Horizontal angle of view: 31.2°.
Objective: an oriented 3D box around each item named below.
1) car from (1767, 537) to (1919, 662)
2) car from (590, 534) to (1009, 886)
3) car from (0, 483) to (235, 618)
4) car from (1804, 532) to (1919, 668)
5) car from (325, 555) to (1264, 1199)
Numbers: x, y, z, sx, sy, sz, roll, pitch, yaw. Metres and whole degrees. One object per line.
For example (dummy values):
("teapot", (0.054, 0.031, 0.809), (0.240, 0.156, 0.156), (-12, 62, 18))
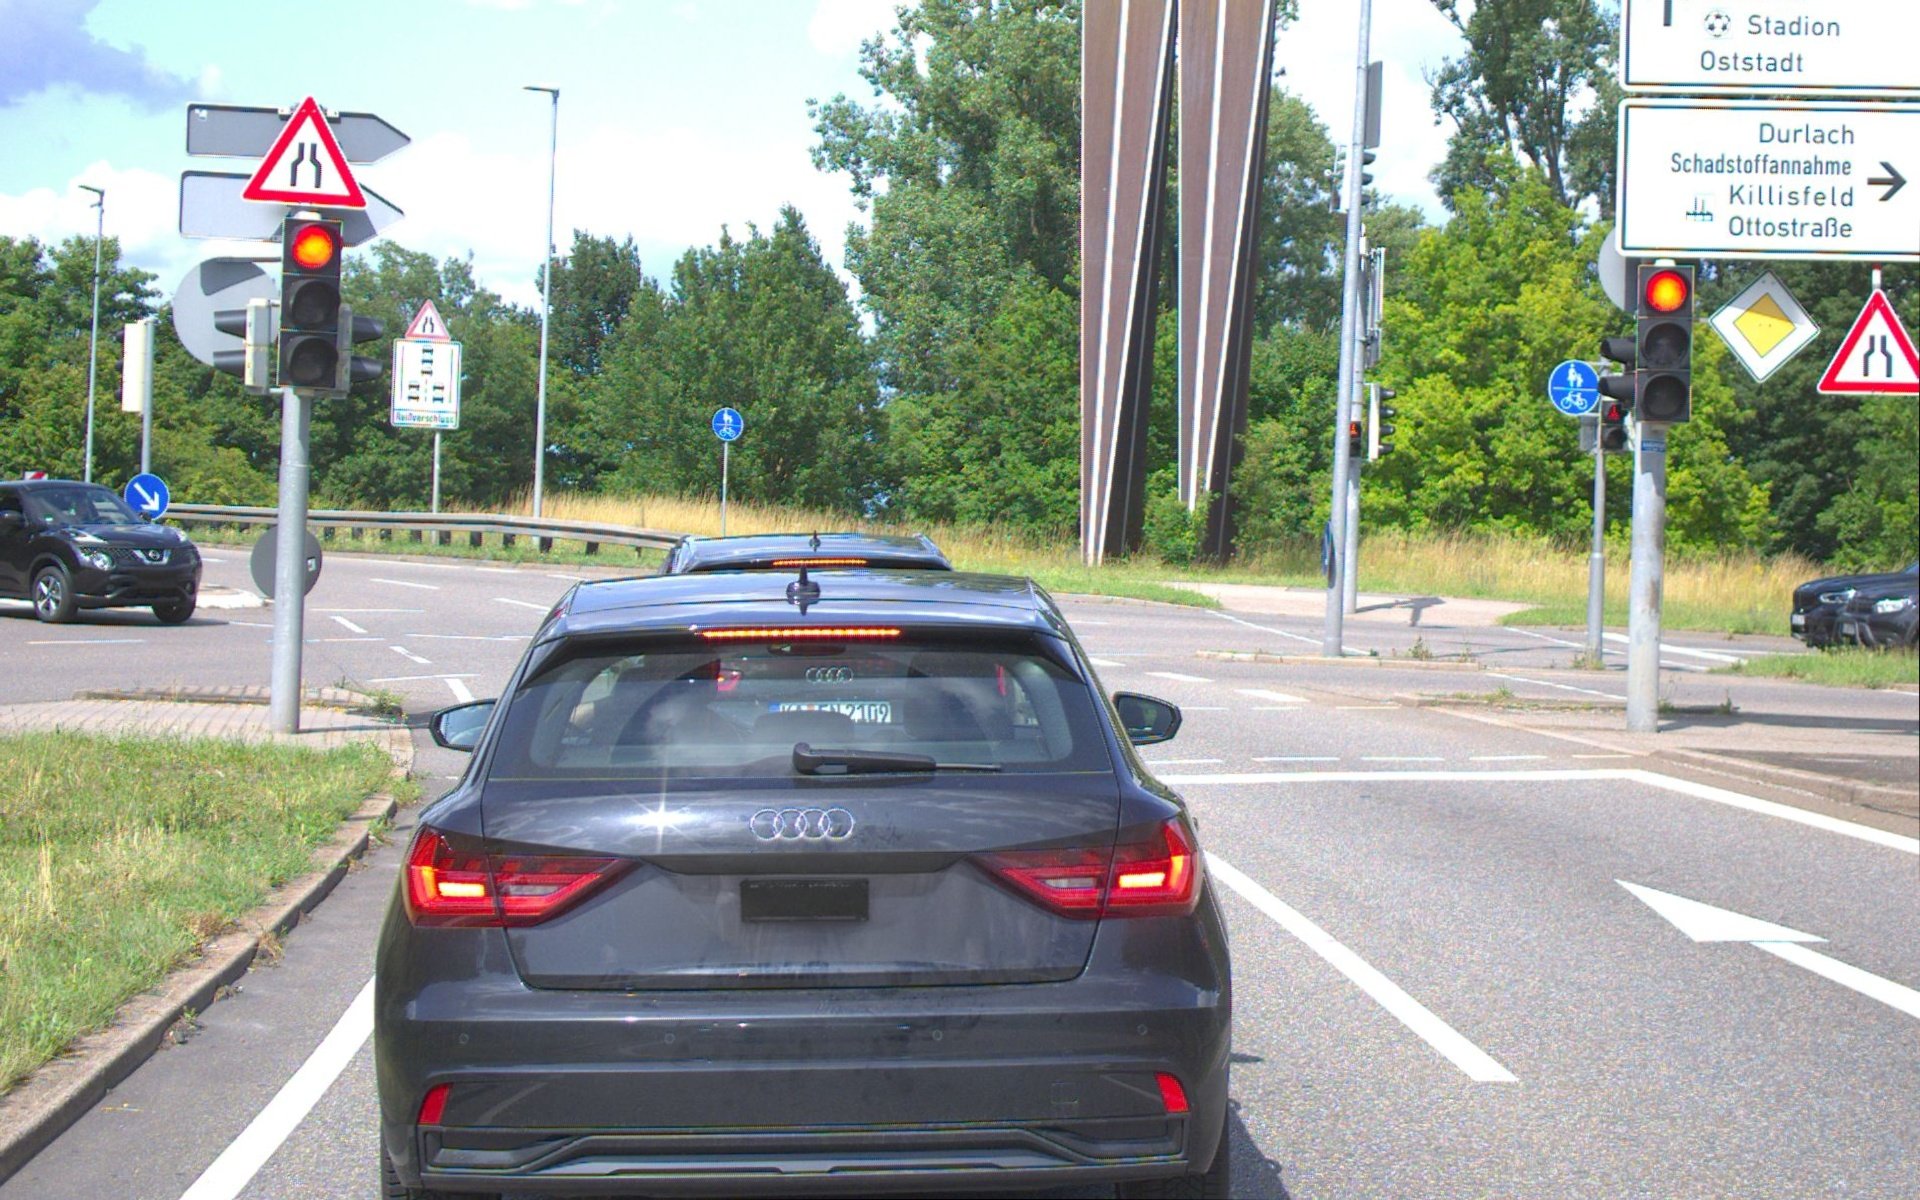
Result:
("car", (13.122, 0.026, 44.591), (4.847, 1.539, 1.737), (2, 1, -1))
("car", (-0.823, 0.417, 16.147), (1.726, 1.418, 3.845), (0, 2, -5))
("car", (-10.130, -0.594, 39.118), (1.948, 1.413, 3.969), (1, 2, -42))
("car", (12.382, 0.030, 40.731), (4.268, 1.539, 1.737), (2, 1, -1))
("car", (-0.331, 0.620, 8.347), (1.726, 1.399, 4.000), (0, 2, -1))
